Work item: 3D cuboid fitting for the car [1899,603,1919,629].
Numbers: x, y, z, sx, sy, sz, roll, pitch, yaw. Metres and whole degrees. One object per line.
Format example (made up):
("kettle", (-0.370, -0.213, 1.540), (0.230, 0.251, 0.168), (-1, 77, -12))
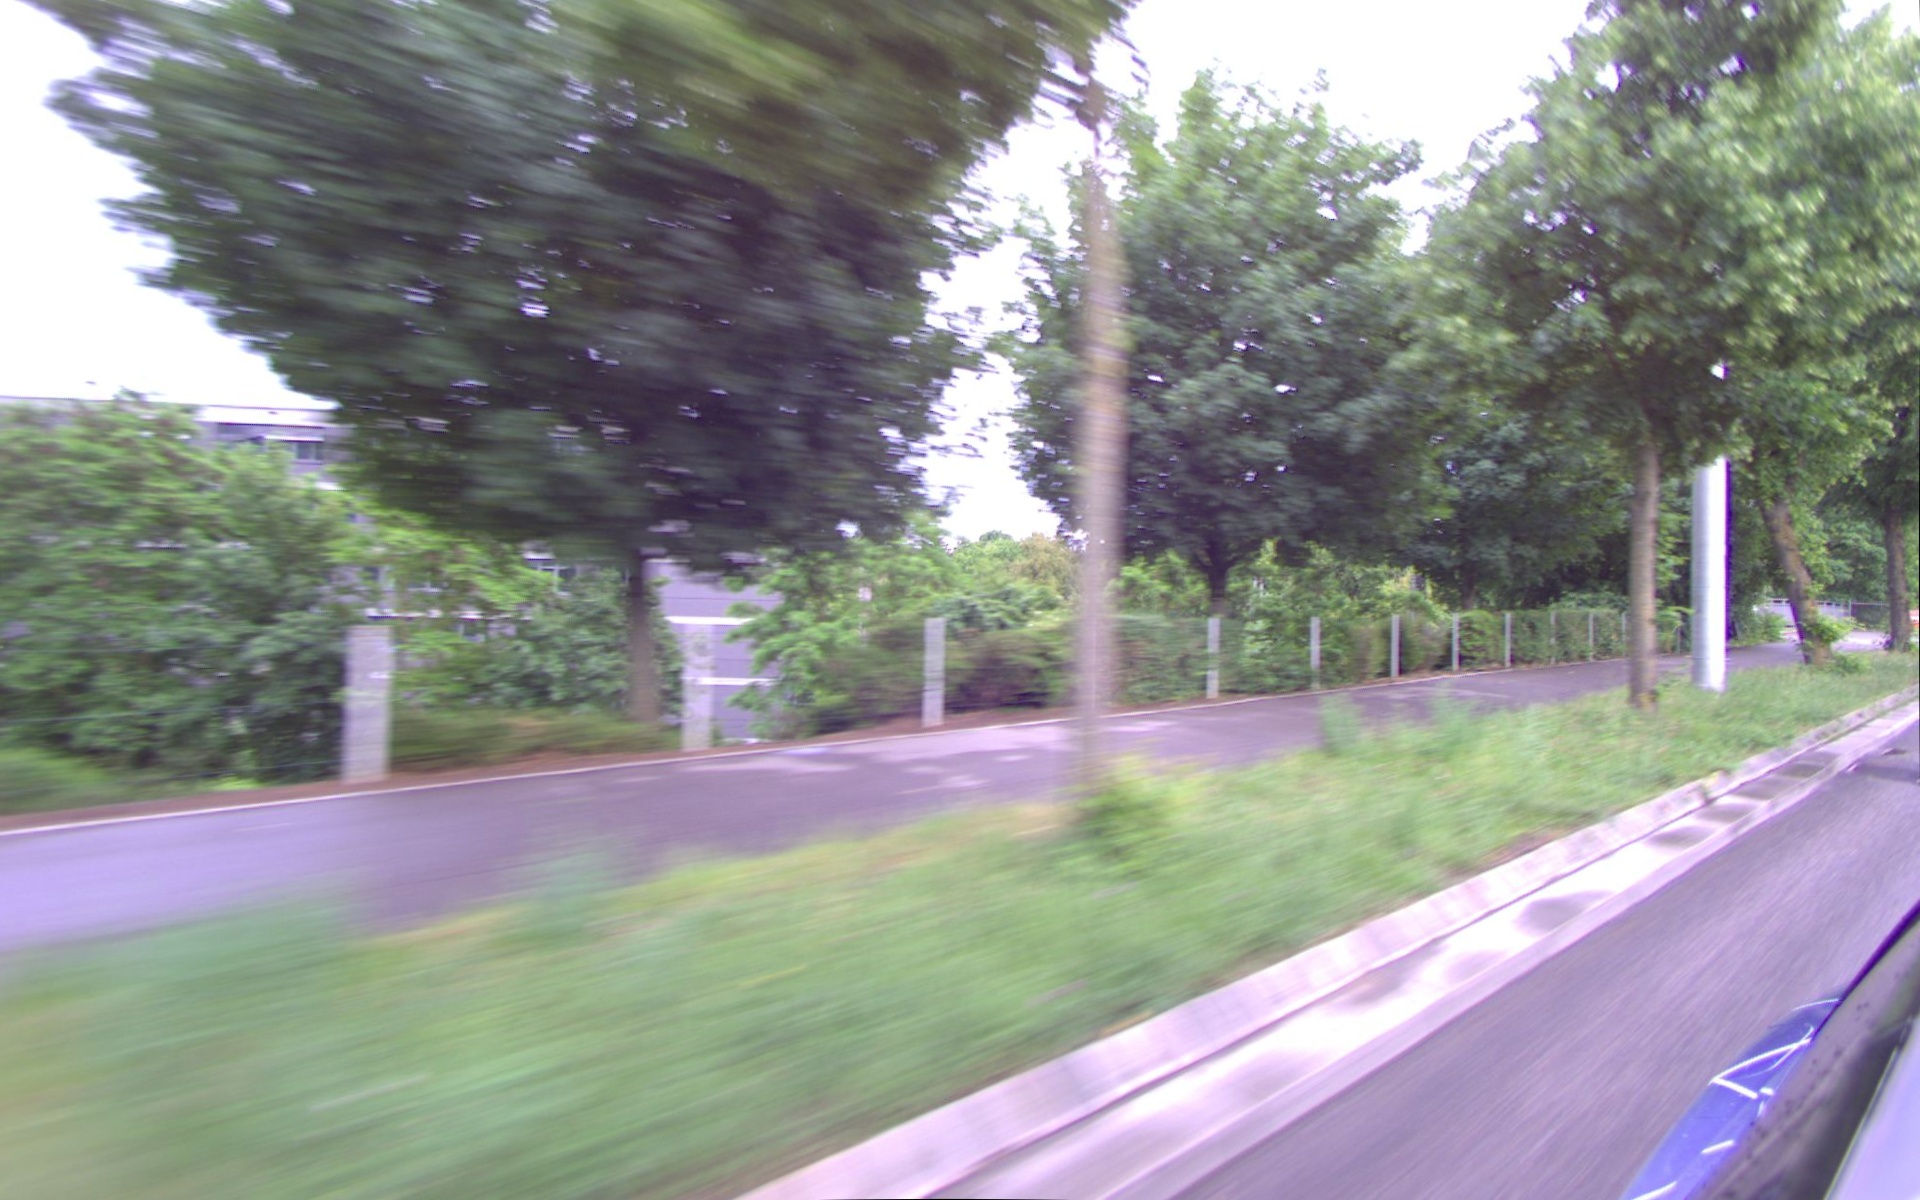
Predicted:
("car", (82.668, 1.365, 85.399), (4.937, 2.220, 1.999), (0, 0, 2))
